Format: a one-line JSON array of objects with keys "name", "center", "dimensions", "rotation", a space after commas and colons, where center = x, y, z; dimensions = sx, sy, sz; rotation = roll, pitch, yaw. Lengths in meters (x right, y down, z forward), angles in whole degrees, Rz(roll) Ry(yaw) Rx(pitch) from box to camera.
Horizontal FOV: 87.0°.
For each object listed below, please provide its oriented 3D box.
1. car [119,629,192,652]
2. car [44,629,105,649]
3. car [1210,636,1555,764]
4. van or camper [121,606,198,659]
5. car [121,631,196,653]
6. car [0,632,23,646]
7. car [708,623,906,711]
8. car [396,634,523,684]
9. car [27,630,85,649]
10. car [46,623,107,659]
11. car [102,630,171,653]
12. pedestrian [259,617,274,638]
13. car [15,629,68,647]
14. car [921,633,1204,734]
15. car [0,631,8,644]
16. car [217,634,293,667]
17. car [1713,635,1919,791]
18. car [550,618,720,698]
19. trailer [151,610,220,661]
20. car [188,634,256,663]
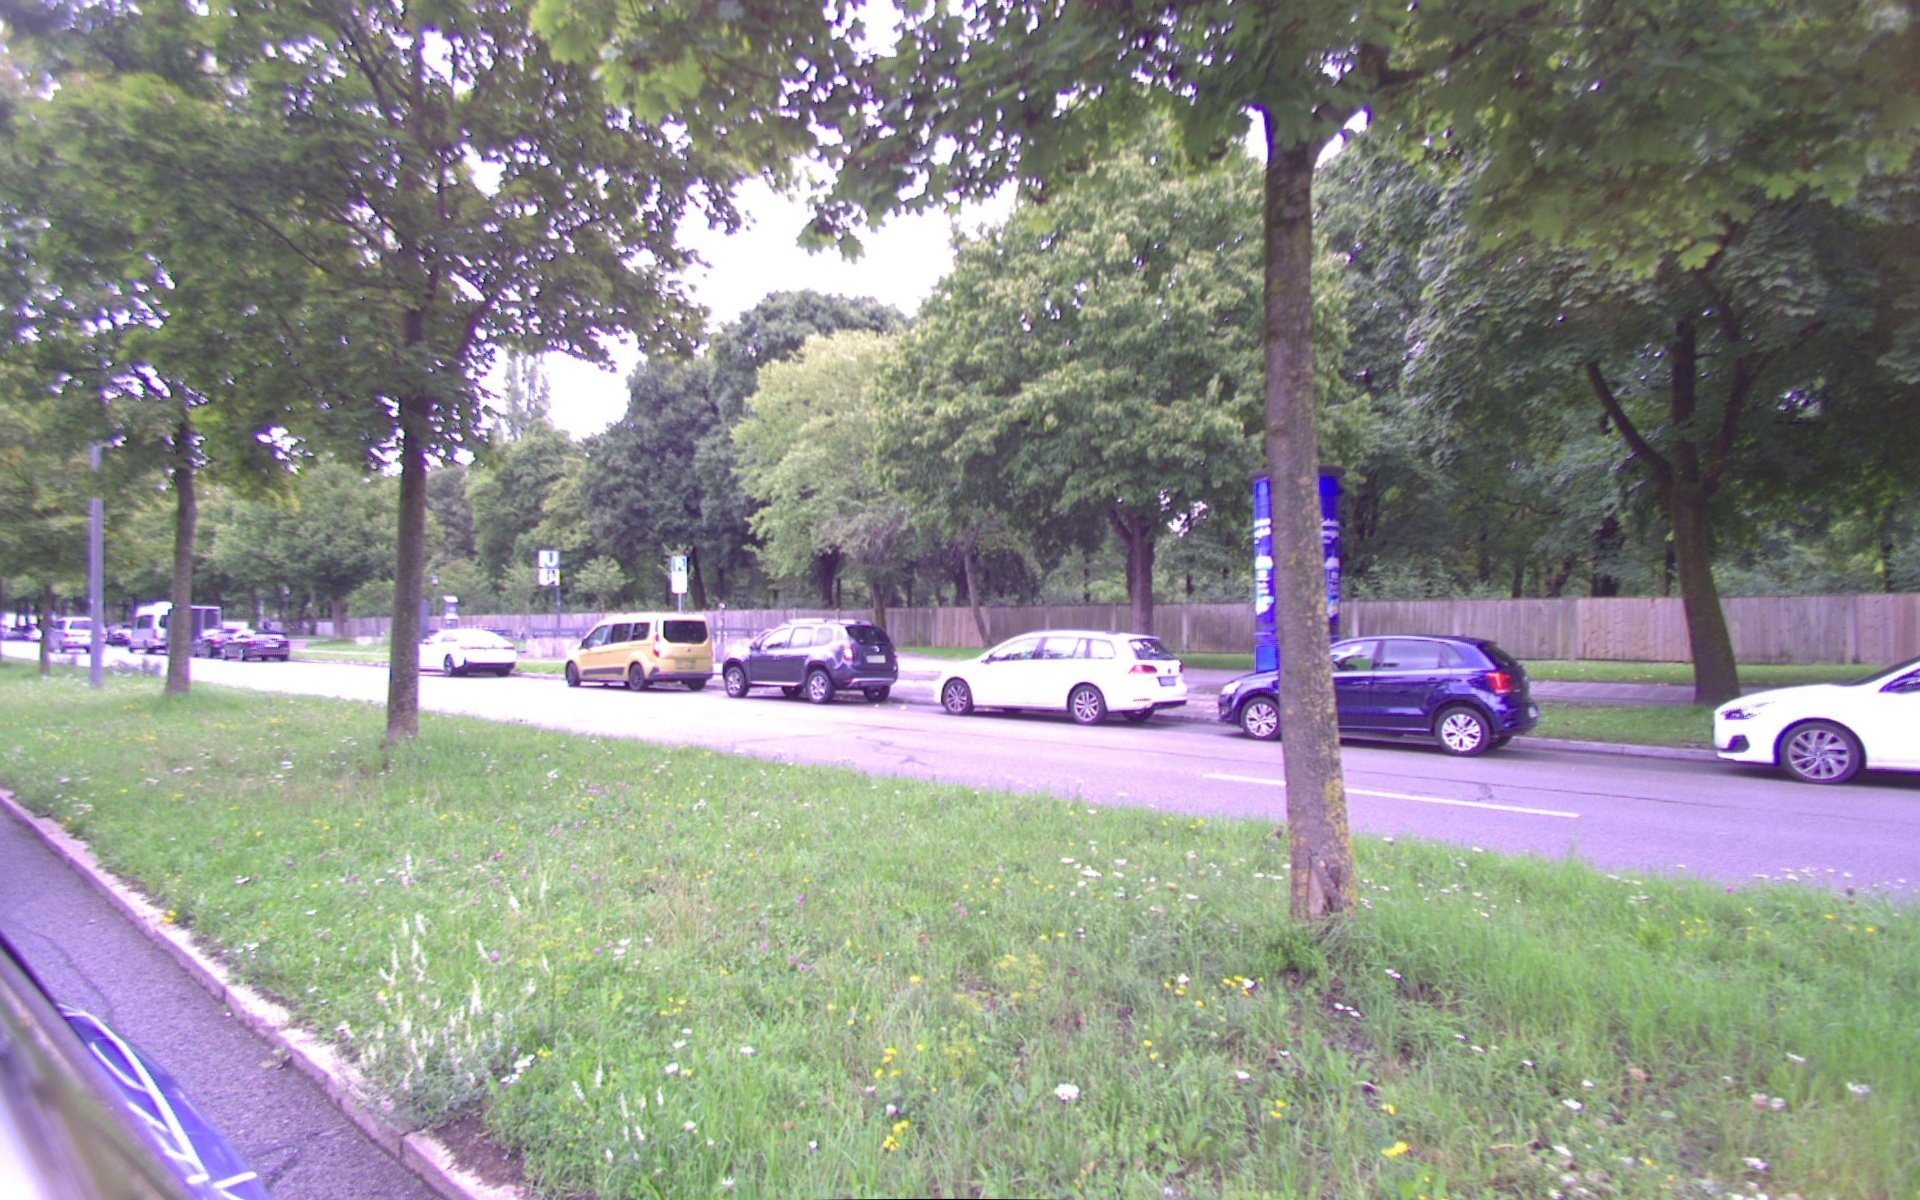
[{"name": "car", "center": [-60.559, 3.015, 76.242], "dimensions": [1.779, 1.585, 4.316], "rotation": [-1, 0, 6]}, {"name": "car", "center": [-81.841, 3.607, 93.569], "dimensions": [1.870, 1.569, 3.990], "rotation": [-2, 0, 8]}, {"name": "car", "center": [5.434, 1.200, 13.268], "dimensions": [3.893, 1.428, 1.597], "rotation": [-2, -3, 39]}, {"name": "van or camper", "center": [-45.854, 1.904, 57.904], "dimensions": [7.542, 2.859, 2.014], "rotation": [-2, -3, 41]}, {"name": "car", "center": [-58.107, 3.011, 73.476], "dimensions": [1.779, 1.449, 4.316], "rotation": [-1, 0, 6]}, {"name": "car", "center": [-105.325, 4.341, 112.312], "dimensions": [4.171, 1.454, 1.864], "rotation": [-1, -1, 45]}, {"name": "car", "center": [-3.254, 1.342, 21.132], "dimensions": [4.252, 1.658, 1.719], "rotation": [-2, -3, 40]}, {"name": "car", "center": [-16.014, 1.828, 32.257], "dimensions": [4.871, 1.484, 1.838], "rotation": [-2, -3, 40]}, {"name": "car", "center": [-88.712, 3.860, 99.387], "dimensions": [1.870, 1.569, 3.990], "rotation": [-2, 0, 8]}, {"name": "car", "center": [-49.344, 2.267, 56.504], "dimensions": [4.990, 1.948, 1.781], "rotation": [-1, -3, 40]}, {"name": "car", "center": [-63.149, 3.149, 77.705], "dimensions": [1.779, 1.497, 3.993], "rotation": [-2, 0, 6]}, {"name": "pedestrian", "center": [-57.743, 2.292, 84.306], "dimensions": [0.872, 1.781, 0.761], "rotation": [-1, -2, 37]}, {"name": "car", "center": [-96.099, 3.953, 105.943], "dimensions": [1.760, 1.741, 3.992], "rotation": [-1, 0, 6]}, {"name": "car", "center": [1.594, 1.301, 16.889], "dimensions": [4.529, 1.461, 1.744], "rotation": [-2, -3, 40]}, {"name": "car", "center": [-114.333, 4.462, 120.052], "dimensions": [4.171, 1.454, 1.864], "rotation": [-1, -1, 45]}, {"name": "car", "center": [-31.901, 2.255, 45.736], "dimensions": [4.429, 1.436, 1.781], "rotation": [-2, -3, 41]}, {"name": "car", "center": [9.933, 1.075, 9.670], "dimensions": [4.276, 1.455, 1.590], "rotation": [-2, -3, 41]}, {"name": "car", "center": [-8.100, 1.397, 24.998], "dimensions": [4.816, 1.796, 1.795], "rotation": [-2, -3, 42]}, {"name": "trailer", "center": [-41.247, 1.887, 53.861], "dimensions": [4.656, 2.610, 1.996], "rotation": [-2, -3, 41]}, {"name": "car", "center": [-36.589, 2.391, 50.161], "dimensions": [4.236, 1.394, 1.781], "rotation": [-2, -3, 41]}]
